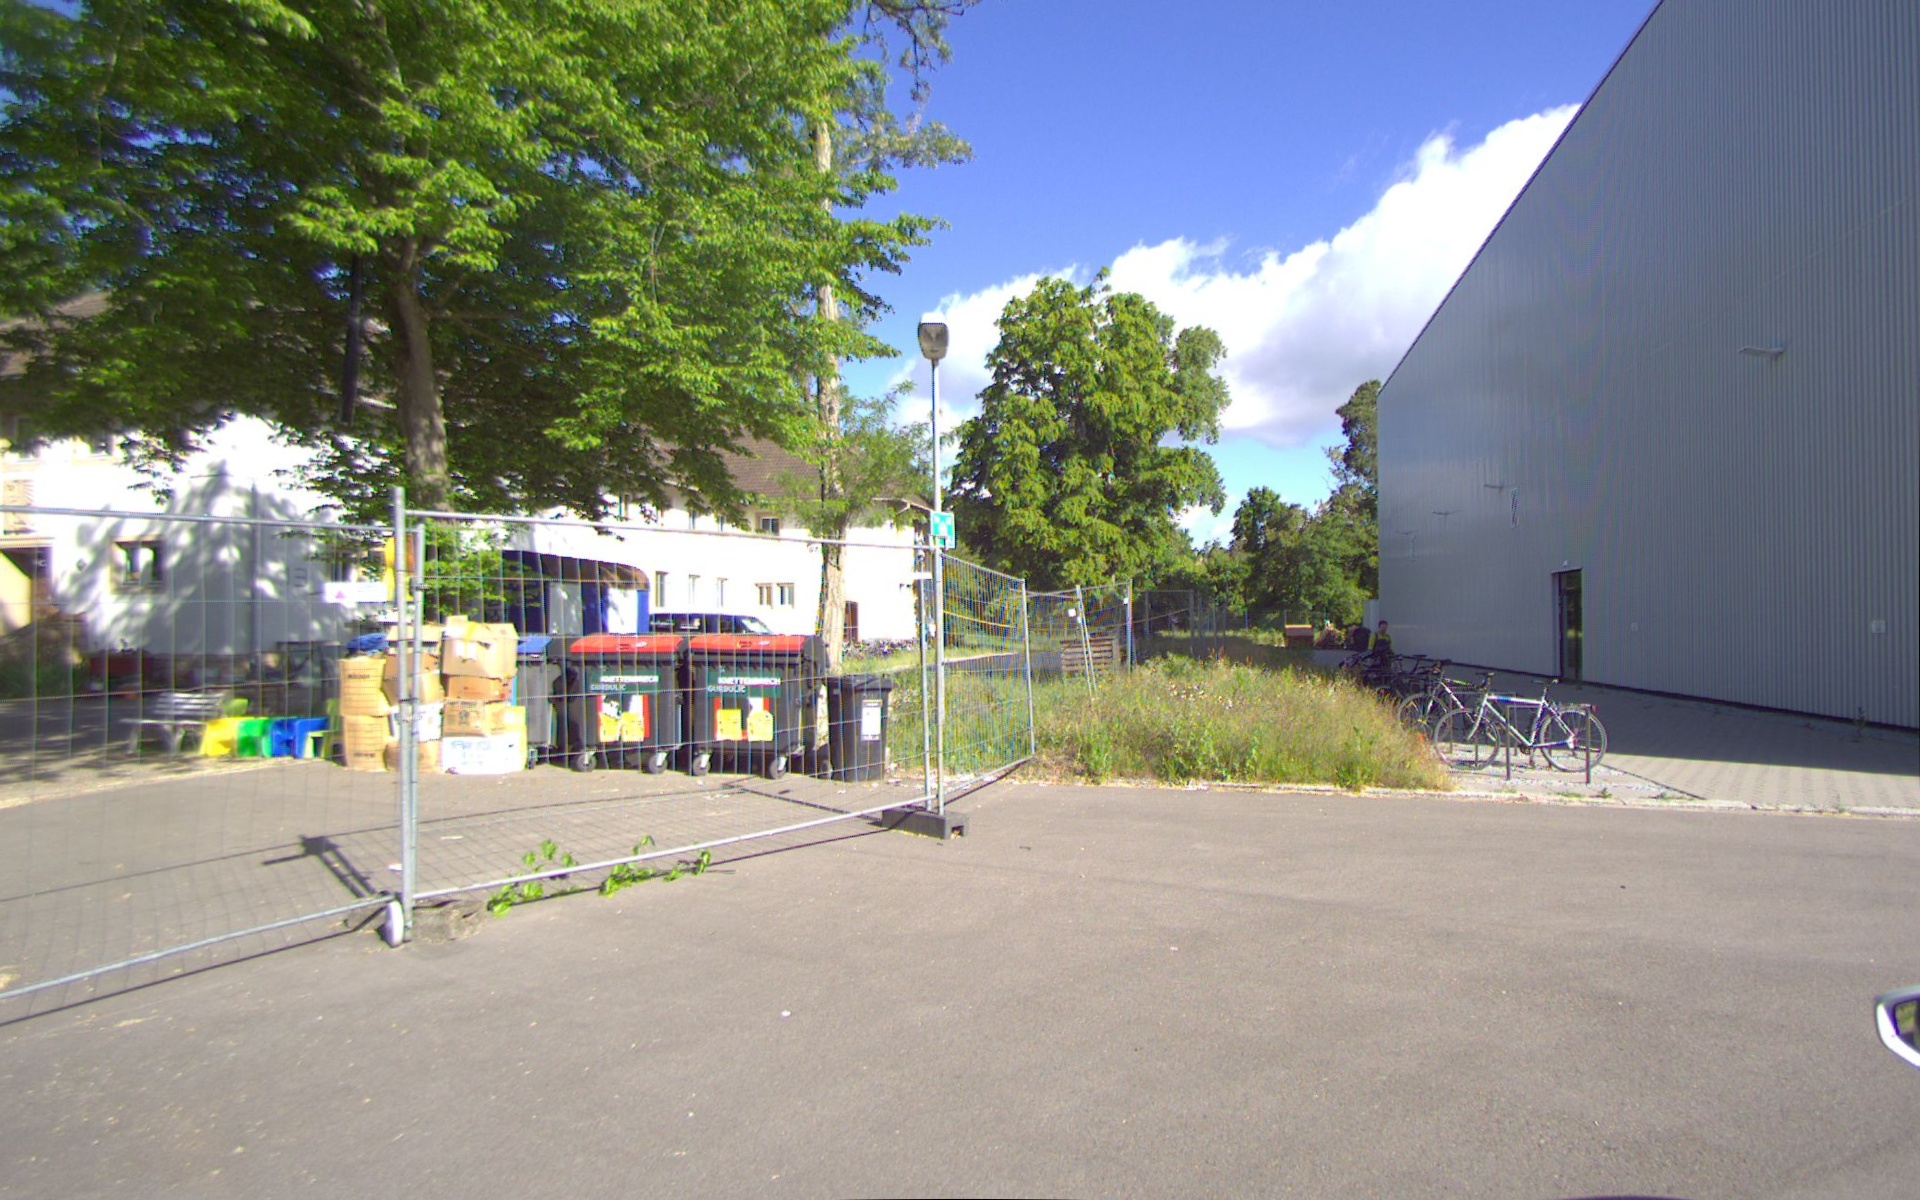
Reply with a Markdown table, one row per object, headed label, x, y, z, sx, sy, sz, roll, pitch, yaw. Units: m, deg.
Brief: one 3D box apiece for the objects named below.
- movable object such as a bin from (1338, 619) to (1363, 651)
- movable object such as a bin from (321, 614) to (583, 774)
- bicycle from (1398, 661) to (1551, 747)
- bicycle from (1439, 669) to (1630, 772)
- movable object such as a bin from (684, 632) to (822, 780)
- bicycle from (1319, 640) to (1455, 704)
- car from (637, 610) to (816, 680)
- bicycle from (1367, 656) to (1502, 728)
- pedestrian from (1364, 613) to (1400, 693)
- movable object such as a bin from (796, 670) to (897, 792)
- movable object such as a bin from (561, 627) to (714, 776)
| label | x | y | z | sx | sy | sz | roll | pitch | yaw |
| --- | --- | --- | --- | --- | --- | --- | --- | --- | --- |
| movable object such as a bin | 25.211 | 2.235 | 64.832 | 1.395 | 2.040 | 1.125 | -1 | -1 | 18 |
| movable object such as a bin | -5.444 | 0.971 | 10.874 | 2.249 | 1.612 | 1.175 | 0 | -1 | 8 |
| bicycle | 6.921 | 1.380 | 13.583 | 1.762 | 1.097 | 0.525 | -1 | -1 | 16 |
| bicycle | 6.308 | 1.309 | 11.094 | 1.769 | 1.076 | 0.459 | 0 | -1 | 9 |
| movable object such as a bin | -2.115 | 1.061 | 10.374 | 1.223 | 1.463 | 0.703 | 0 | -1 | 8 |
| bicycle | 9.073 | 1.507 | 21.488 | 2.586 | 1.283 | 1.141 | -1 | -2 | 18 |
| car | -6.682 | 1.288 | 28.975 | 4.629 | 1.927 | 2.002 | 0 | -2 | 10 |
| bicycle | 7.556 | 1.456 | 16.056 | 1.855 | 1.109 | 0.526 | -1 | -2 | 13 |
| pedestrian | 9.431 | 1.172 | 22.437 | 0.631 | 1.751 | 0.506 | 1 | -2 | -42 |
| movable object such as a bin | -1.112 | 1.270 | 9.974 | 0.724 | 1.112 | 0.819 | -1 | -1 | 18 |
| movable object such as a bin | -3.399 | 1.045 | 10.661 | 1.314 | 1.504 | 0.807 | 0 | -1 | 8 |
